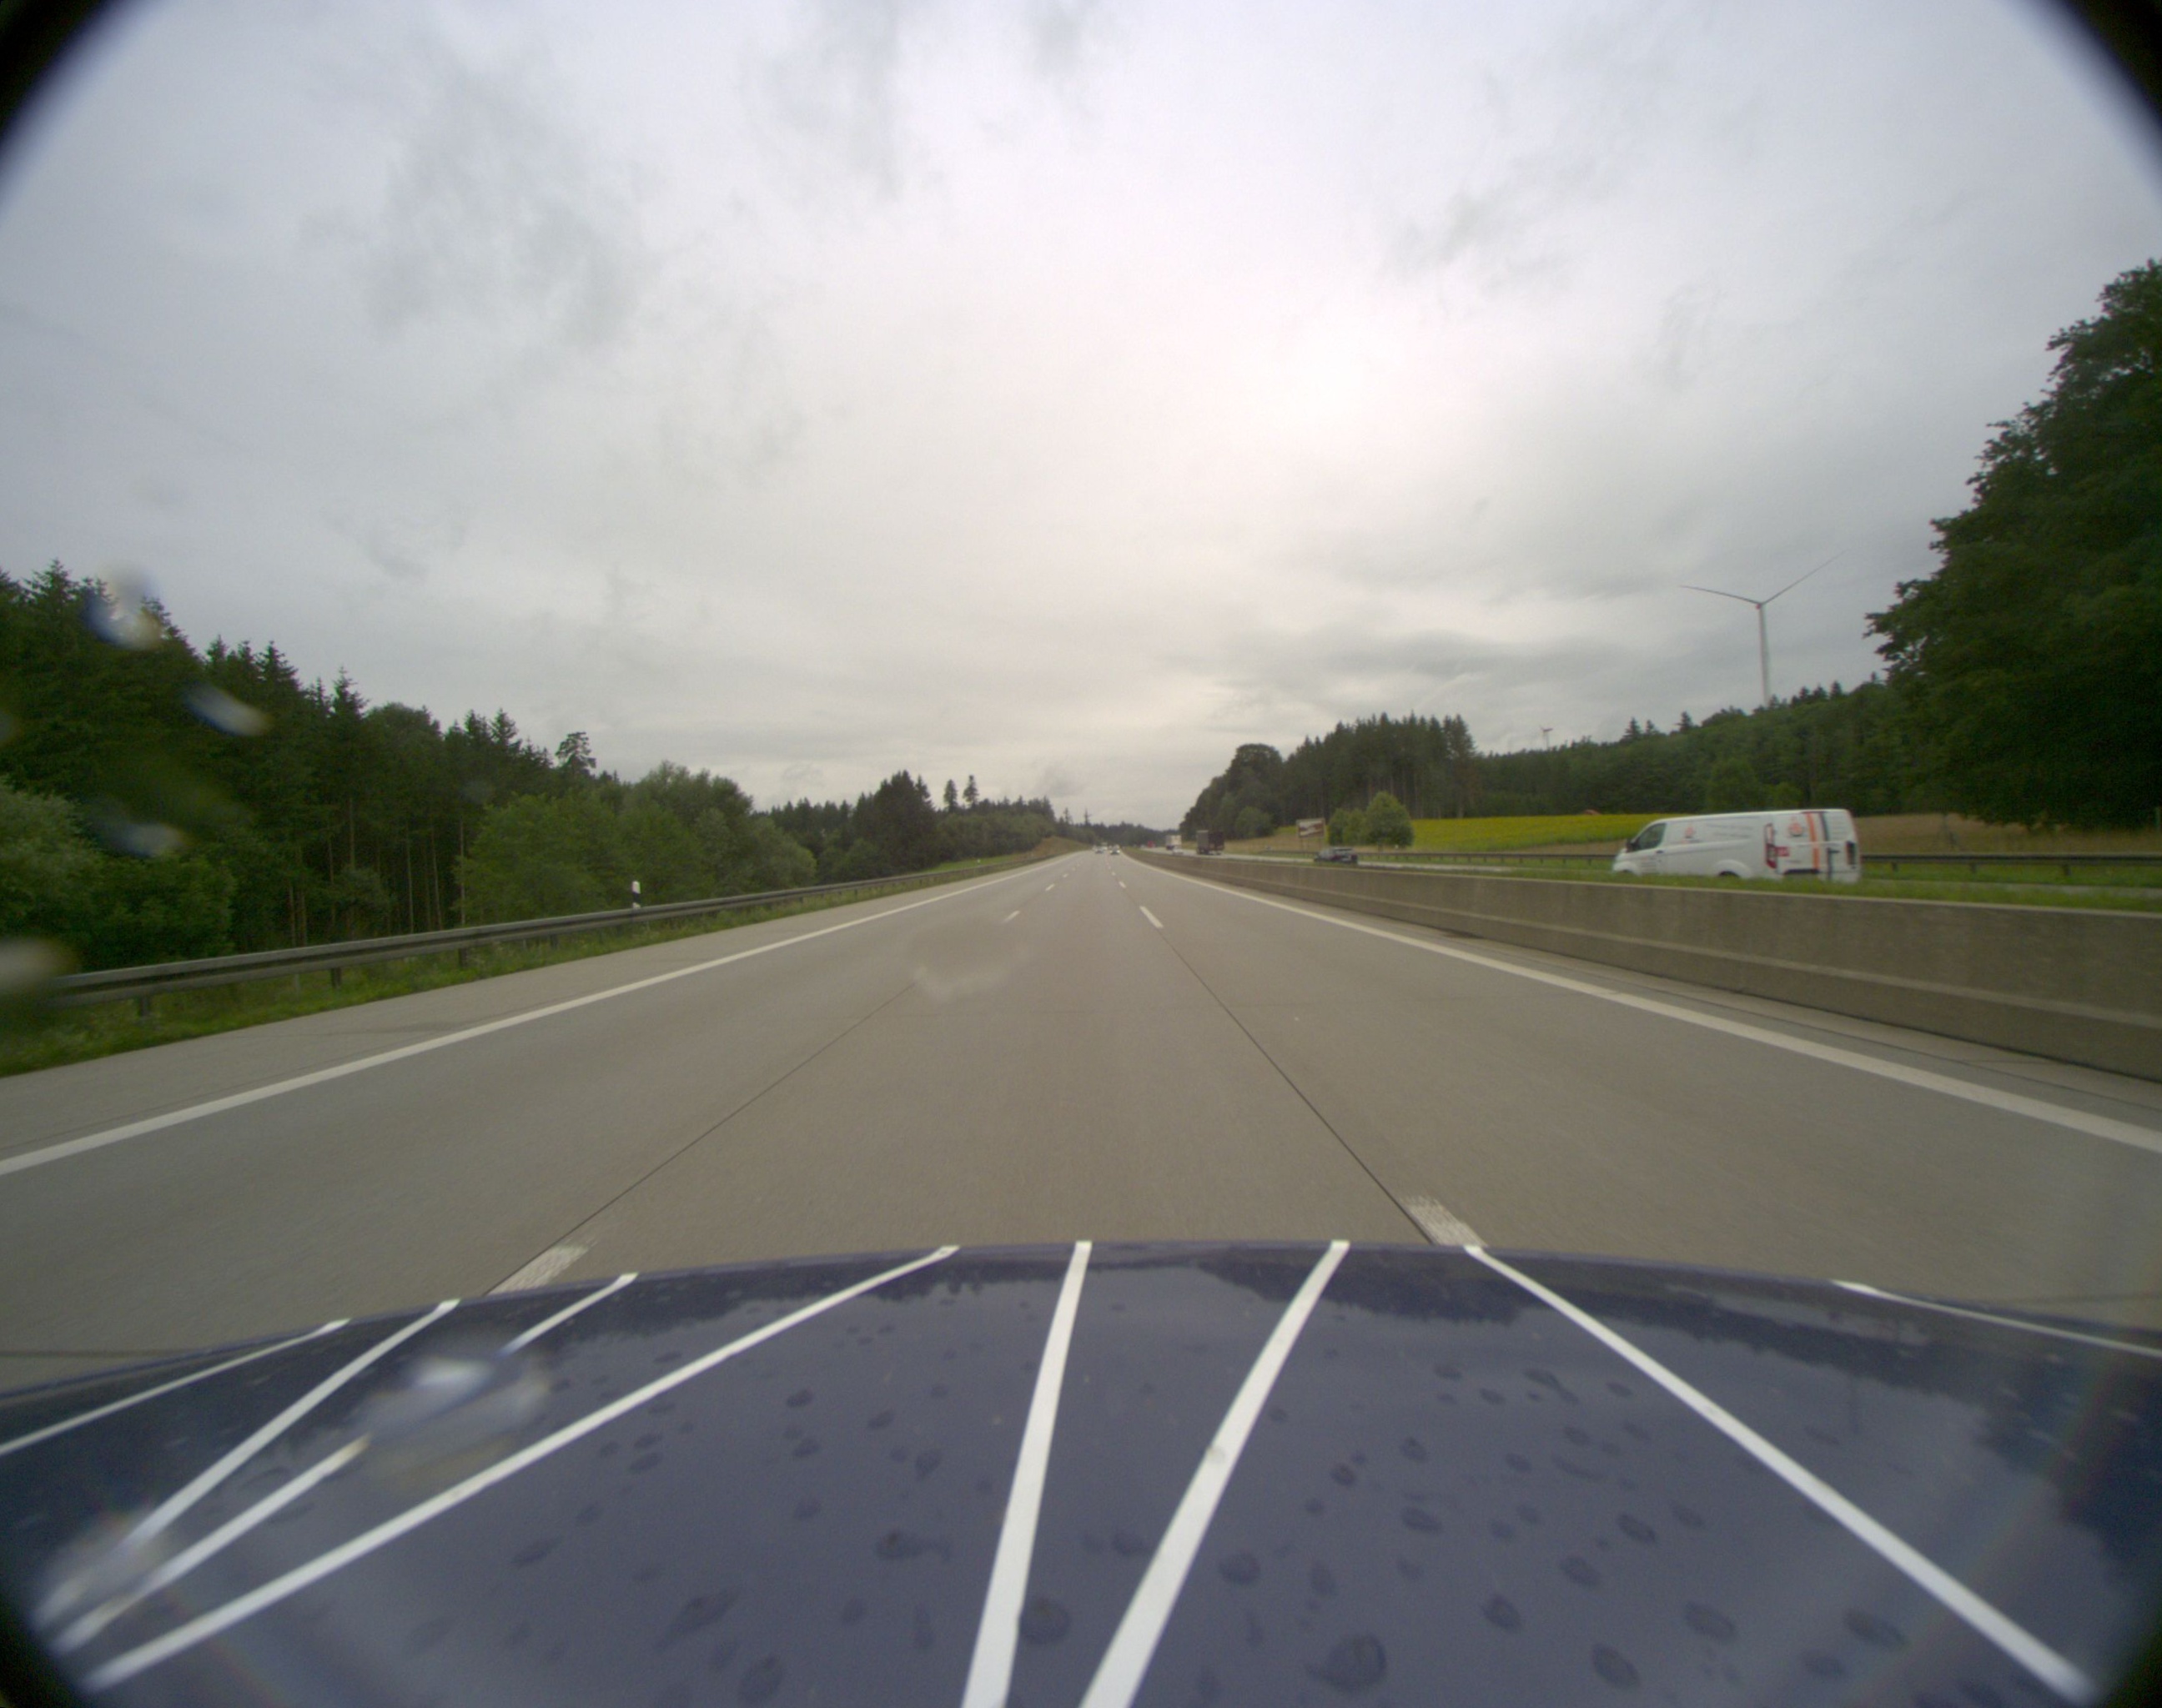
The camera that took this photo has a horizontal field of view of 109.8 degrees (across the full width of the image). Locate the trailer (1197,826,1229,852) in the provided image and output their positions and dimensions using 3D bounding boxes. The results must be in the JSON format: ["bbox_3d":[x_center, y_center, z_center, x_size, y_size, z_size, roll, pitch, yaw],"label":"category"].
[{"bbox_3d":[22.316,-2.532,129.391,3.243,4.029,14.129,-3,1,1],"label":"trailer"}]

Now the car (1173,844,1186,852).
[{"bbox_3d":[18.664,-1.070,143.975,1.788,1.459,4.372,-2,0,1],"label":"car"}]

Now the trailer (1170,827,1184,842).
[{"bbox_3d":[24.965,-5.103,198.443,2.825,3.761,7.716,-2,1,2],"label":"trailer"}]

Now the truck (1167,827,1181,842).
[{"bbox_3d":[25.362,-5.279,208.008,2.819,3.751,11.350,-2,1,3],"label":"truck"}]

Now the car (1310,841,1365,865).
[{"bbox_3d":[16.189,-0.062,48.251,1.852,1.368,4.436,-3,1,-1],"label":"car"}]

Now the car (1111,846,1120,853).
[{"bbox_3d":[7.383,-0.947,162.893,1.766,1.455,4.001,-2,-1,2],"label":"car"}]

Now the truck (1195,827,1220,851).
[{"bbox_3d":[22.467,-2.579,135.432,3.220,4.034,7.165,-2,1,1],"label":"truck"}]

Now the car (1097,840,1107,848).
[{"bbox_3d":[5.253,-2.462,188.614,2.213,2.002,4.834,-3,0,0],"label":"car"}]

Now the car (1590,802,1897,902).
[{"bbox_3d":[14.306,-0.061,17.031,2.093,1.791,5.496,-3,1,1],"label":"car"}]
